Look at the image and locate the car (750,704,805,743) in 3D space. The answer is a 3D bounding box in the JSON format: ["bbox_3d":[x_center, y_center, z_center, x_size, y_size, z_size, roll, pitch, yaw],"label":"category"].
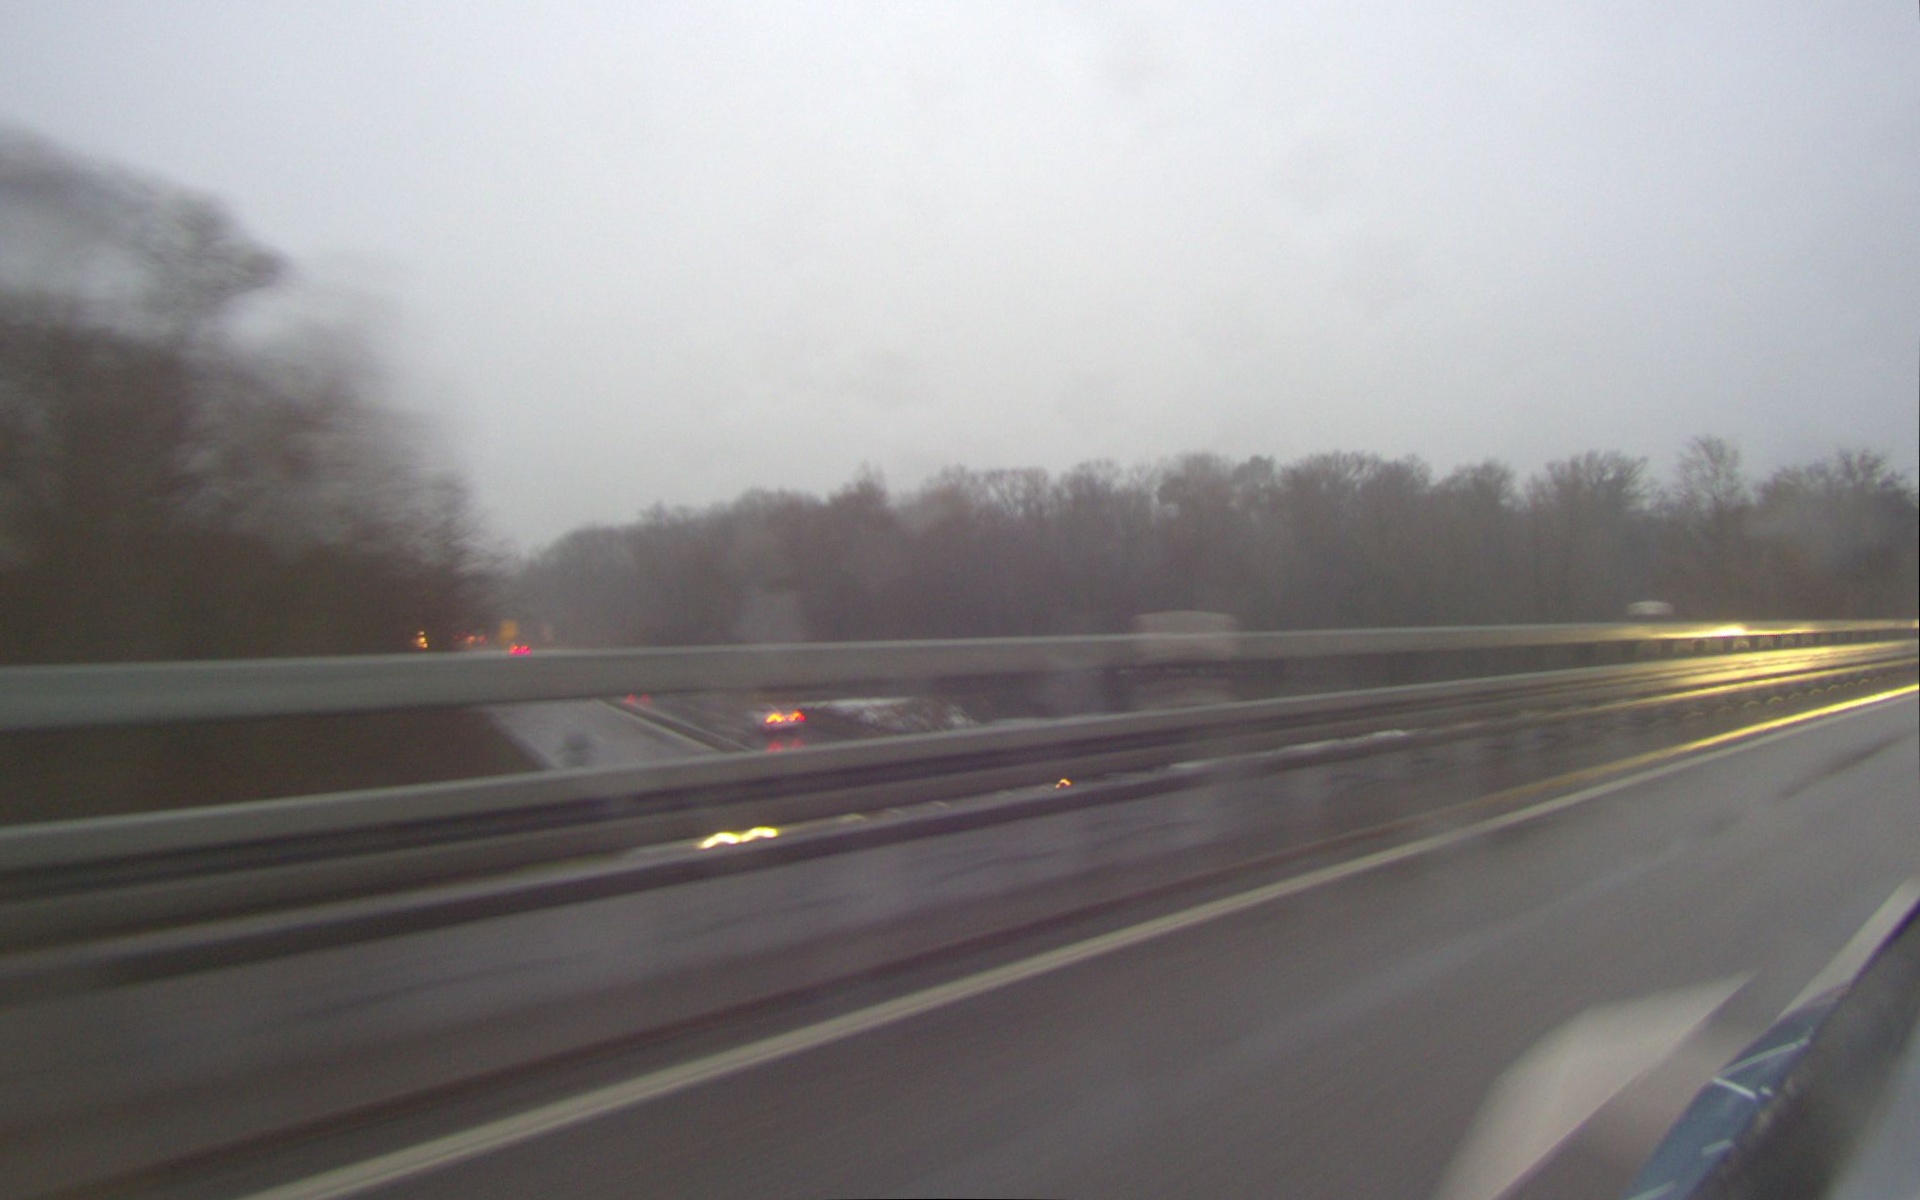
[{"bbox_3d":[-10.639,7.130,58.783,1.757,1.658,3.992,1,0,-33],"label":"car"}]

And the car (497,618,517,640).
[{"bbox_3d":[-79.321,5.012,177.133,2.496,3.425,6.668,1,1,-30],"label":"car"}]

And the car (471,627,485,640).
[{"bbox_3d":[-85.508,5.912,179.527,2.209,2.039,5.722,0,1,-27],"label":"car"}]

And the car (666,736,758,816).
[{"bbox_3d":[-10.020,6.932,40.502,1.960,2.039,5.718,0,1,-31],"label":"car"}]

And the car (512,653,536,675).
[{"bbox_3d":[-46.558,6.771,108.033,1.959,2.039,5.720,1,-1,-27],"label":"car"}]
